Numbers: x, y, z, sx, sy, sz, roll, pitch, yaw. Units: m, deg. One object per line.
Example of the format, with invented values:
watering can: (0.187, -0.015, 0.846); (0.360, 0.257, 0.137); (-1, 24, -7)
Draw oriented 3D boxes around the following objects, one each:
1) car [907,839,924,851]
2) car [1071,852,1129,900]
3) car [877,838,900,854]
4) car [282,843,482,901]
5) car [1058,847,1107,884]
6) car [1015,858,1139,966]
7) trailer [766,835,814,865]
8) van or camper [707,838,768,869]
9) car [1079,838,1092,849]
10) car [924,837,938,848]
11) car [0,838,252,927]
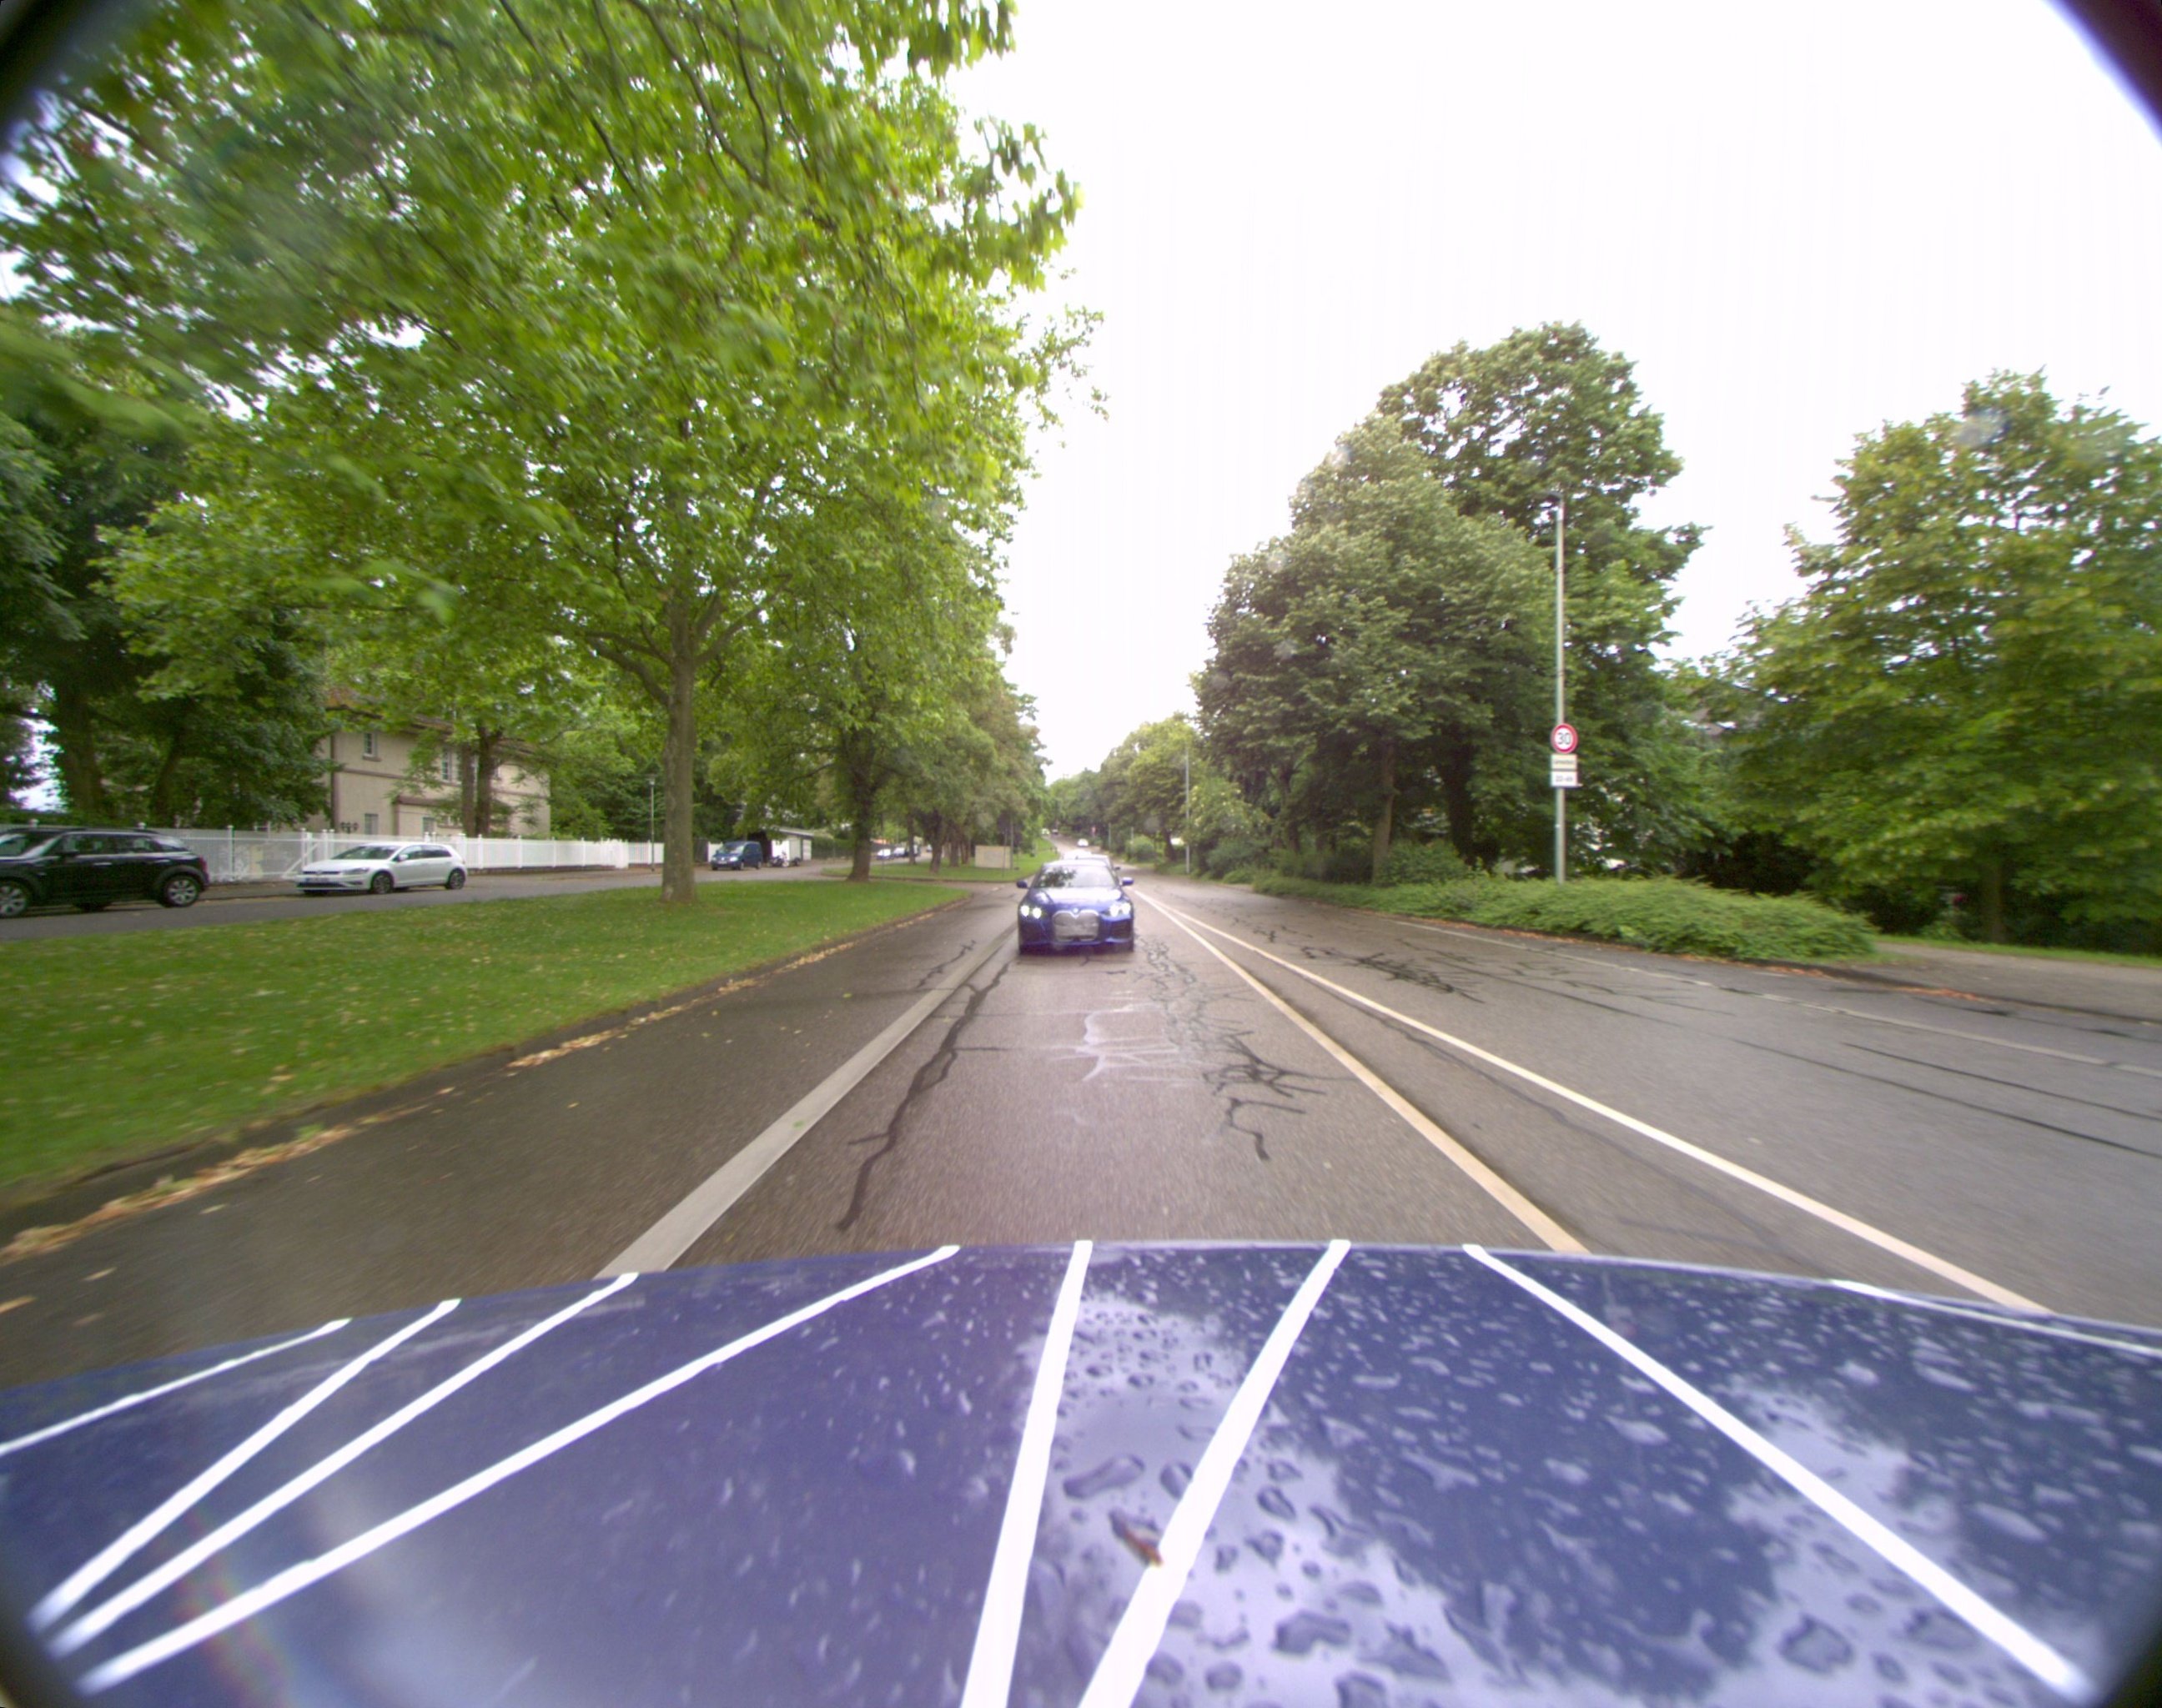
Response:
car: (-26.803, -1.446, 123.139); (1.999, 2.002, 3.998); (1, 1, -3)
car: (0.601, 0.719, 26.964); (1.826, 1.471, 4.066); (-2, 1, -1)
car: (-25.132, -1.012, 99.176); (1.999, 2.002, 3.999); (1, 1, -1)
car: (-19.684, 0.428, 21.698); (1.999, 1.440, 4.122); (-2, 1, -4)
car: (0.007, 0.476, 34.071); (2.032, 1.471, 4.066); (-2, 1, -1)
car: (-0.094, 0.882, 13.435); (1.826, 1.471, 4.066); (-2, 1, -1)
trailer: (-21.887, -0.302, 57.347); (1.771, 2.104, 5.190); (-2, 1, -3)
van or camper: (-21.426, -0.082, 47.620); (1.999, 1.798, 4.772); (-2, 1, -6)
car: (0.930, -2.116, 148.592); (2.000, 2.001, 4.572); (0, -1, -7)
car: (-29.083, -2.255, 147.204); (1.999, 2.002, 3.998); (1, 1, -3)
car: (-18.923, 0.472, 14.389); (1.999, 1.463, 4.122); (-2, 1, -4)
